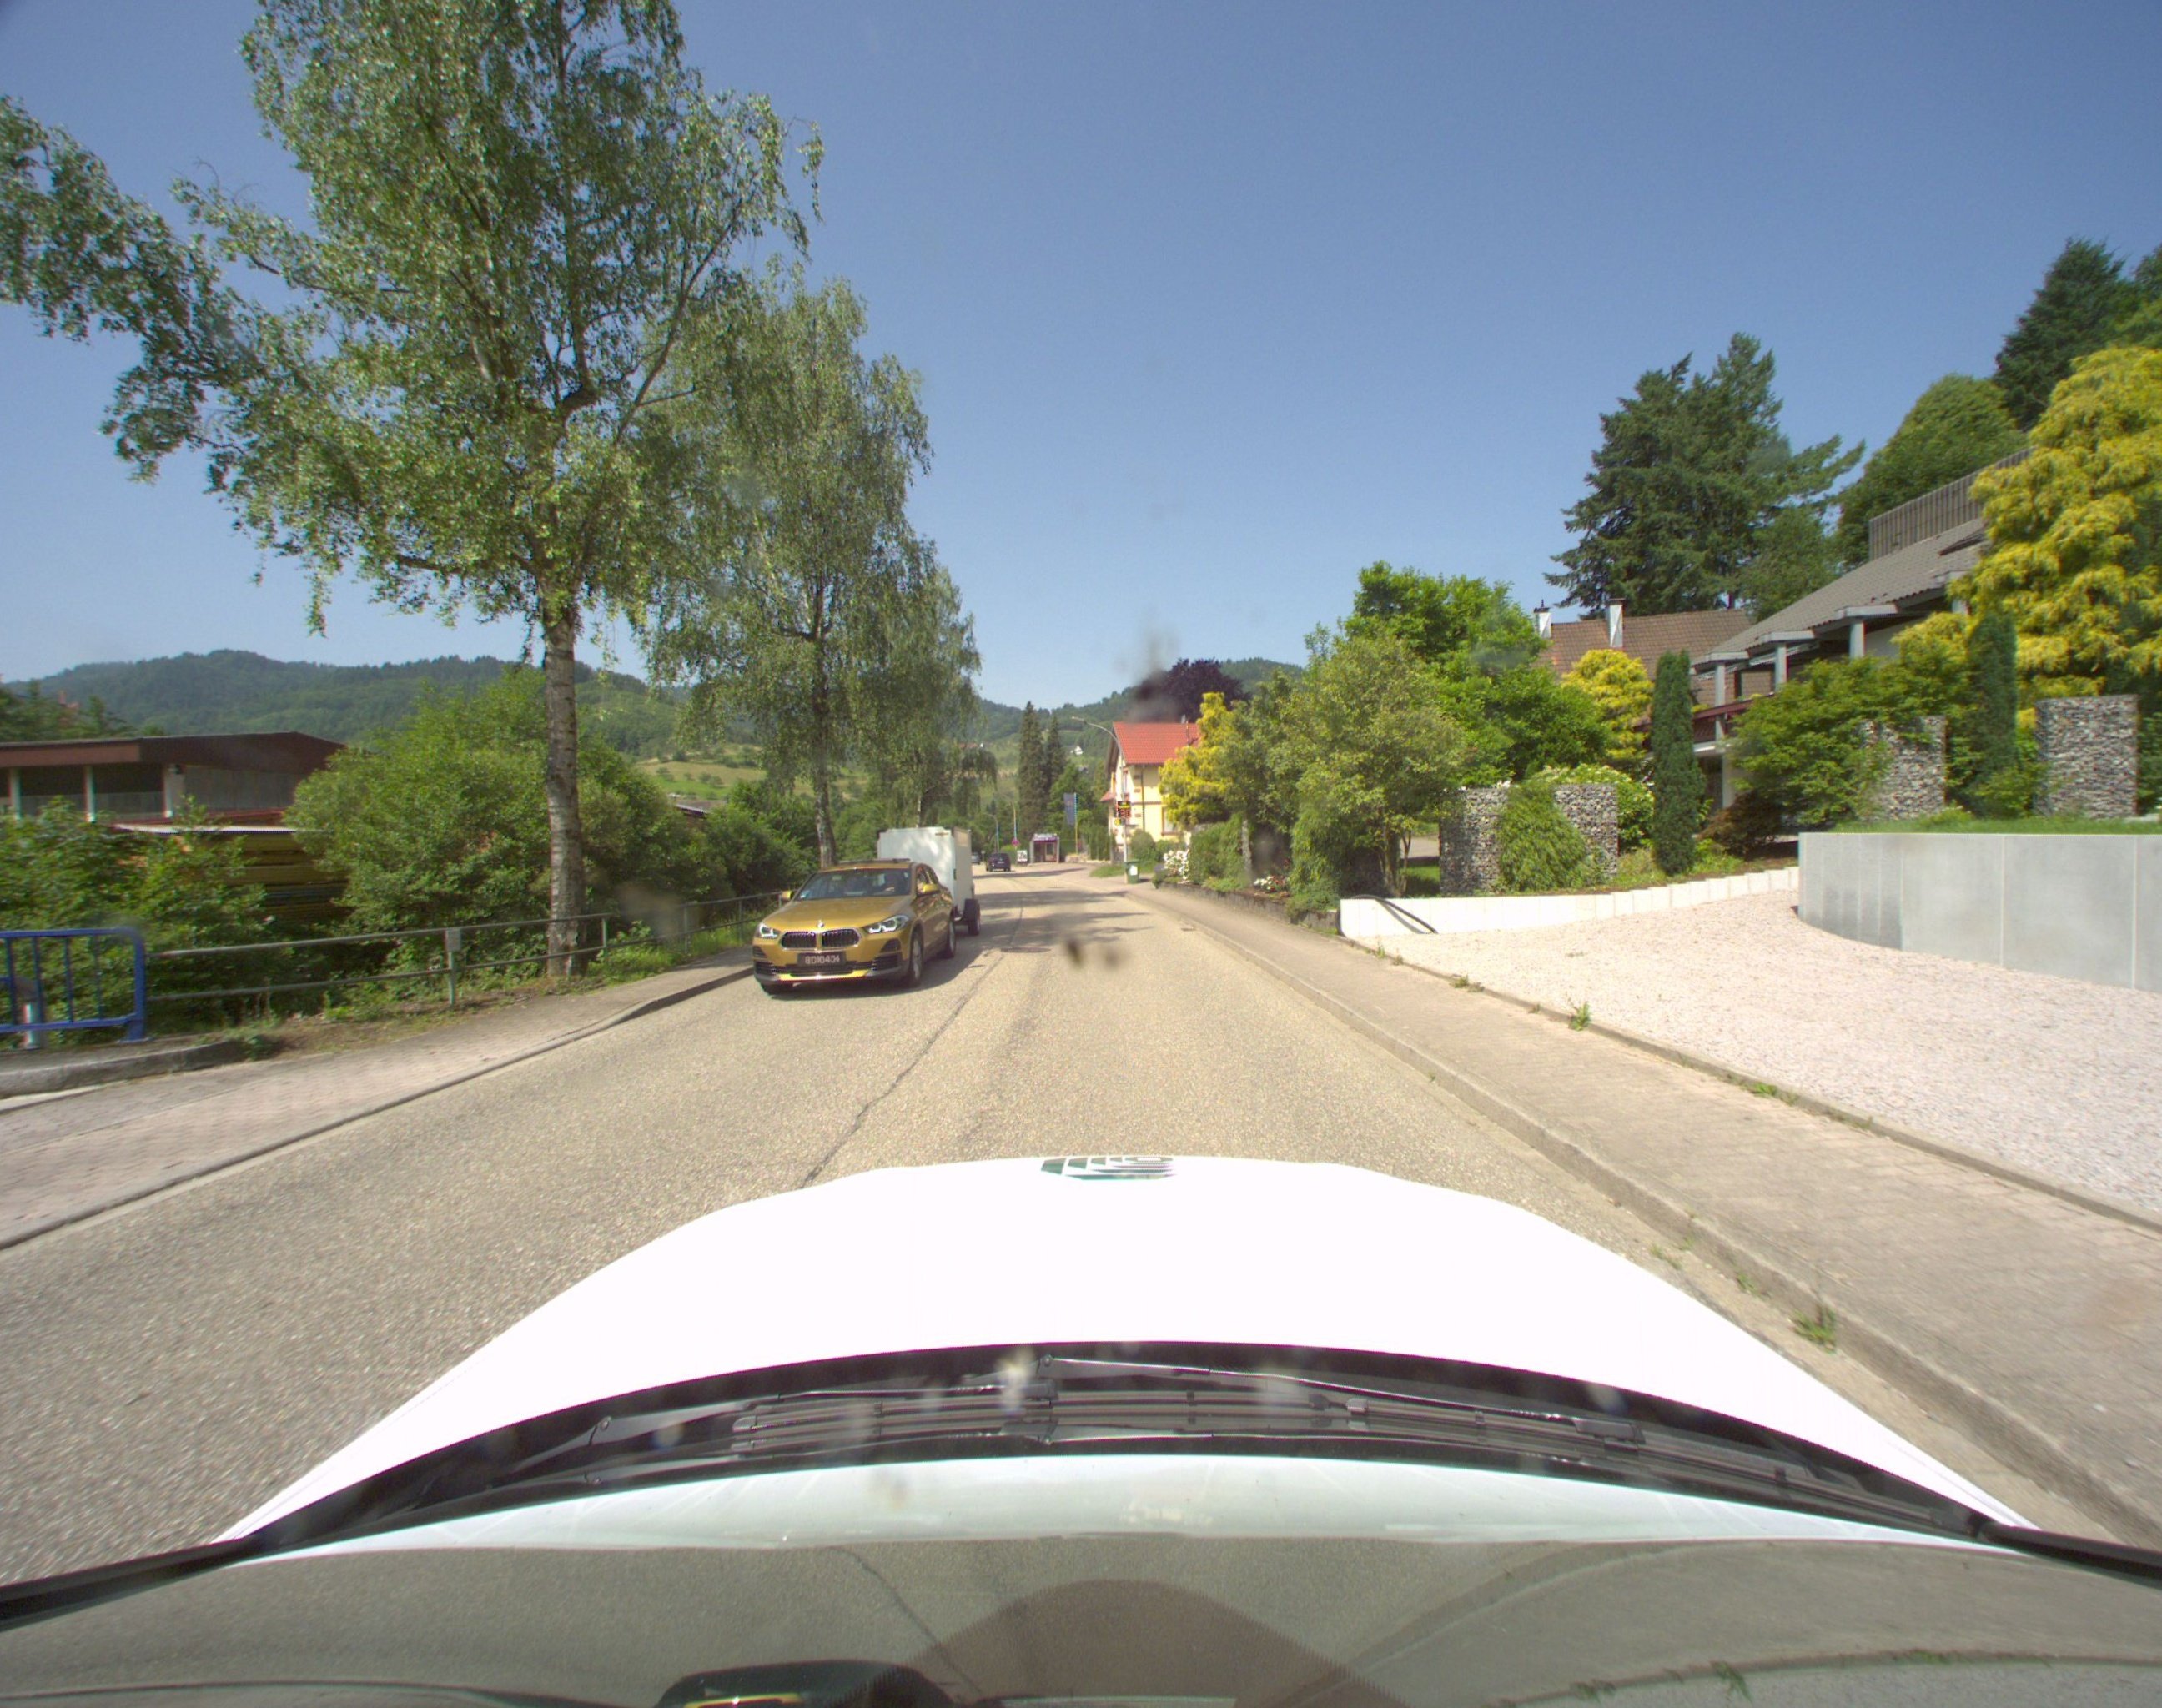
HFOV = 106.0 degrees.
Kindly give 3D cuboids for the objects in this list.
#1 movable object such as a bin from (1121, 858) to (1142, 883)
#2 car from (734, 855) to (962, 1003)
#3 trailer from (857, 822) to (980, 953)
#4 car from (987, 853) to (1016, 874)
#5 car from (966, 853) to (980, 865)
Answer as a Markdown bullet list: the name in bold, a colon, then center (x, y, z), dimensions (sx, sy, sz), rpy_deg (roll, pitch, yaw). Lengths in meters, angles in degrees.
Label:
- **movable object such as a bin**: center (2.261, 0.737, 36.570), dimensions (0.808, 1.042, 0.577), rpy_deg (-2, 0, -7)
- **car**: center (-2.808, 0.806, 10.855), dimensions (1.808, 1.500, 4.148), rpy_deg (-3, 0, 0)
- **trailer**: center (-2.877, 0.547, 15.109), dimensions (1.462, 2.077, 3.669), rpy_deg (-3, 0, 0)
- **car**: center (-6.835, 0.801, 69.786), dimensions (1.922, 1.698, 3.770), rpy_deg (-2, 0, -14)
- **car**: center (-13.330, 0.617, 100.837), dimensions (1.627, 1.422, 3.391), rpy_deg (-1, 0, -6)
